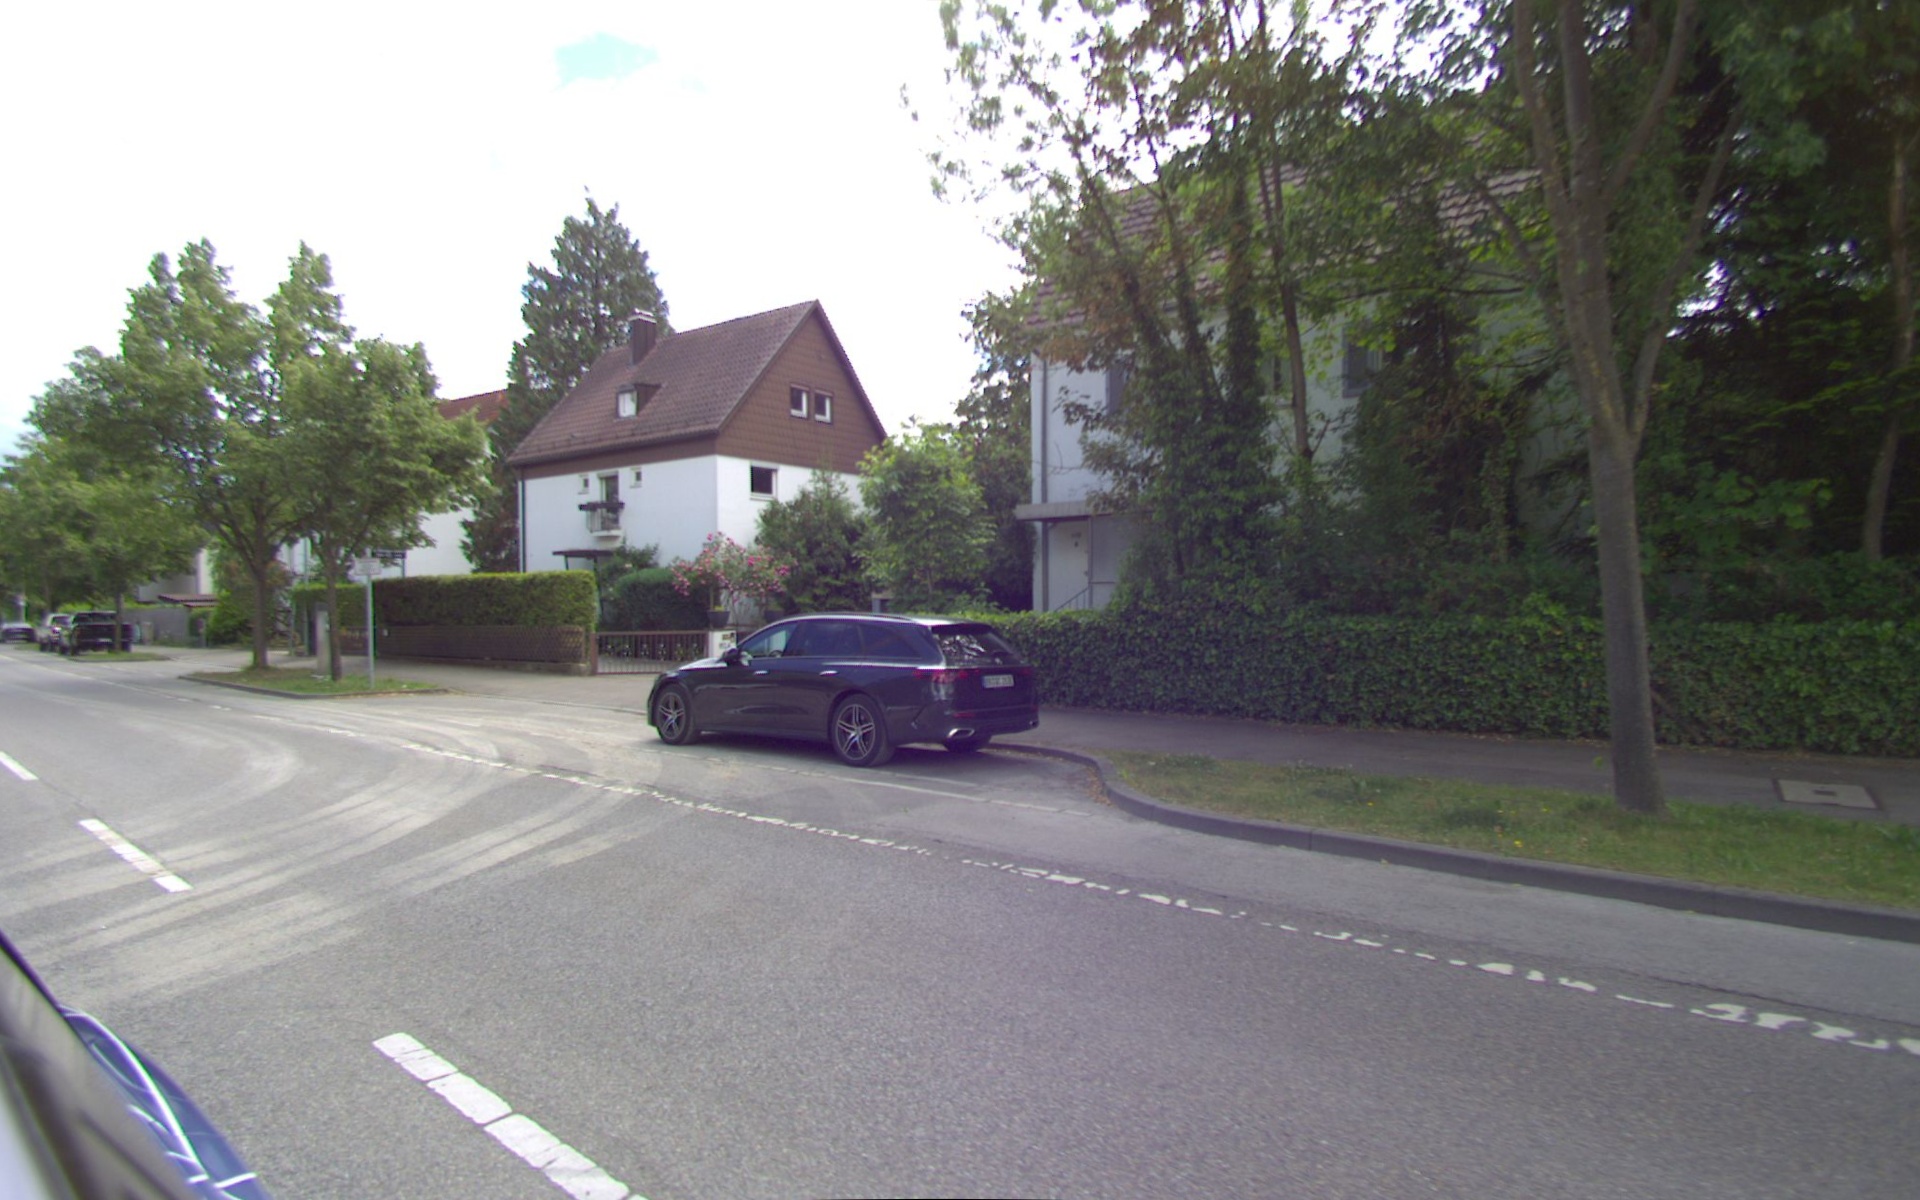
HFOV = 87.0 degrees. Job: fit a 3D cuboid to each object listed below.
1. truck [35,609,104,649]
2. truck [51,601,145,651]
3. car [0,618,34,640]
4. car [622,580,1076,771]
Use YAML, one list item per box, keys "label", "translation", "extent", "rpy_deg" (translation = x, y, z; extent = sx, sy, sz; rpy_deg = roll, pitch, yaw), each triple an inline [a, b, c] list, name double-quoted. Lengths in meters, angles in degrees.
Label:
- label: "truck"
  translation: [-43.553, 1.395, 49.459]
  extent: [5.664, 1.882, 1.945]
  rpy_deg: [-1, -2, 43]
- label: "truck"
  translation: [-38.121, 1.109, 44.685]
  extent: [5.993, 2.059, 2.397]
  rpy_deg: [-1, 0, 42]
- label: "car"
  translation: [-64.709, 1.964, 69.055]
  extent: [4.926, 1.419, 1.727]
  rpy_deg: [-1, -2, 42]
- label: "car"
  translation: [-1.403, 0.719, 11.217]
  extent: [5.032, 1.659, 2.075]
  rpy_deg: [-1, -2, 39]
